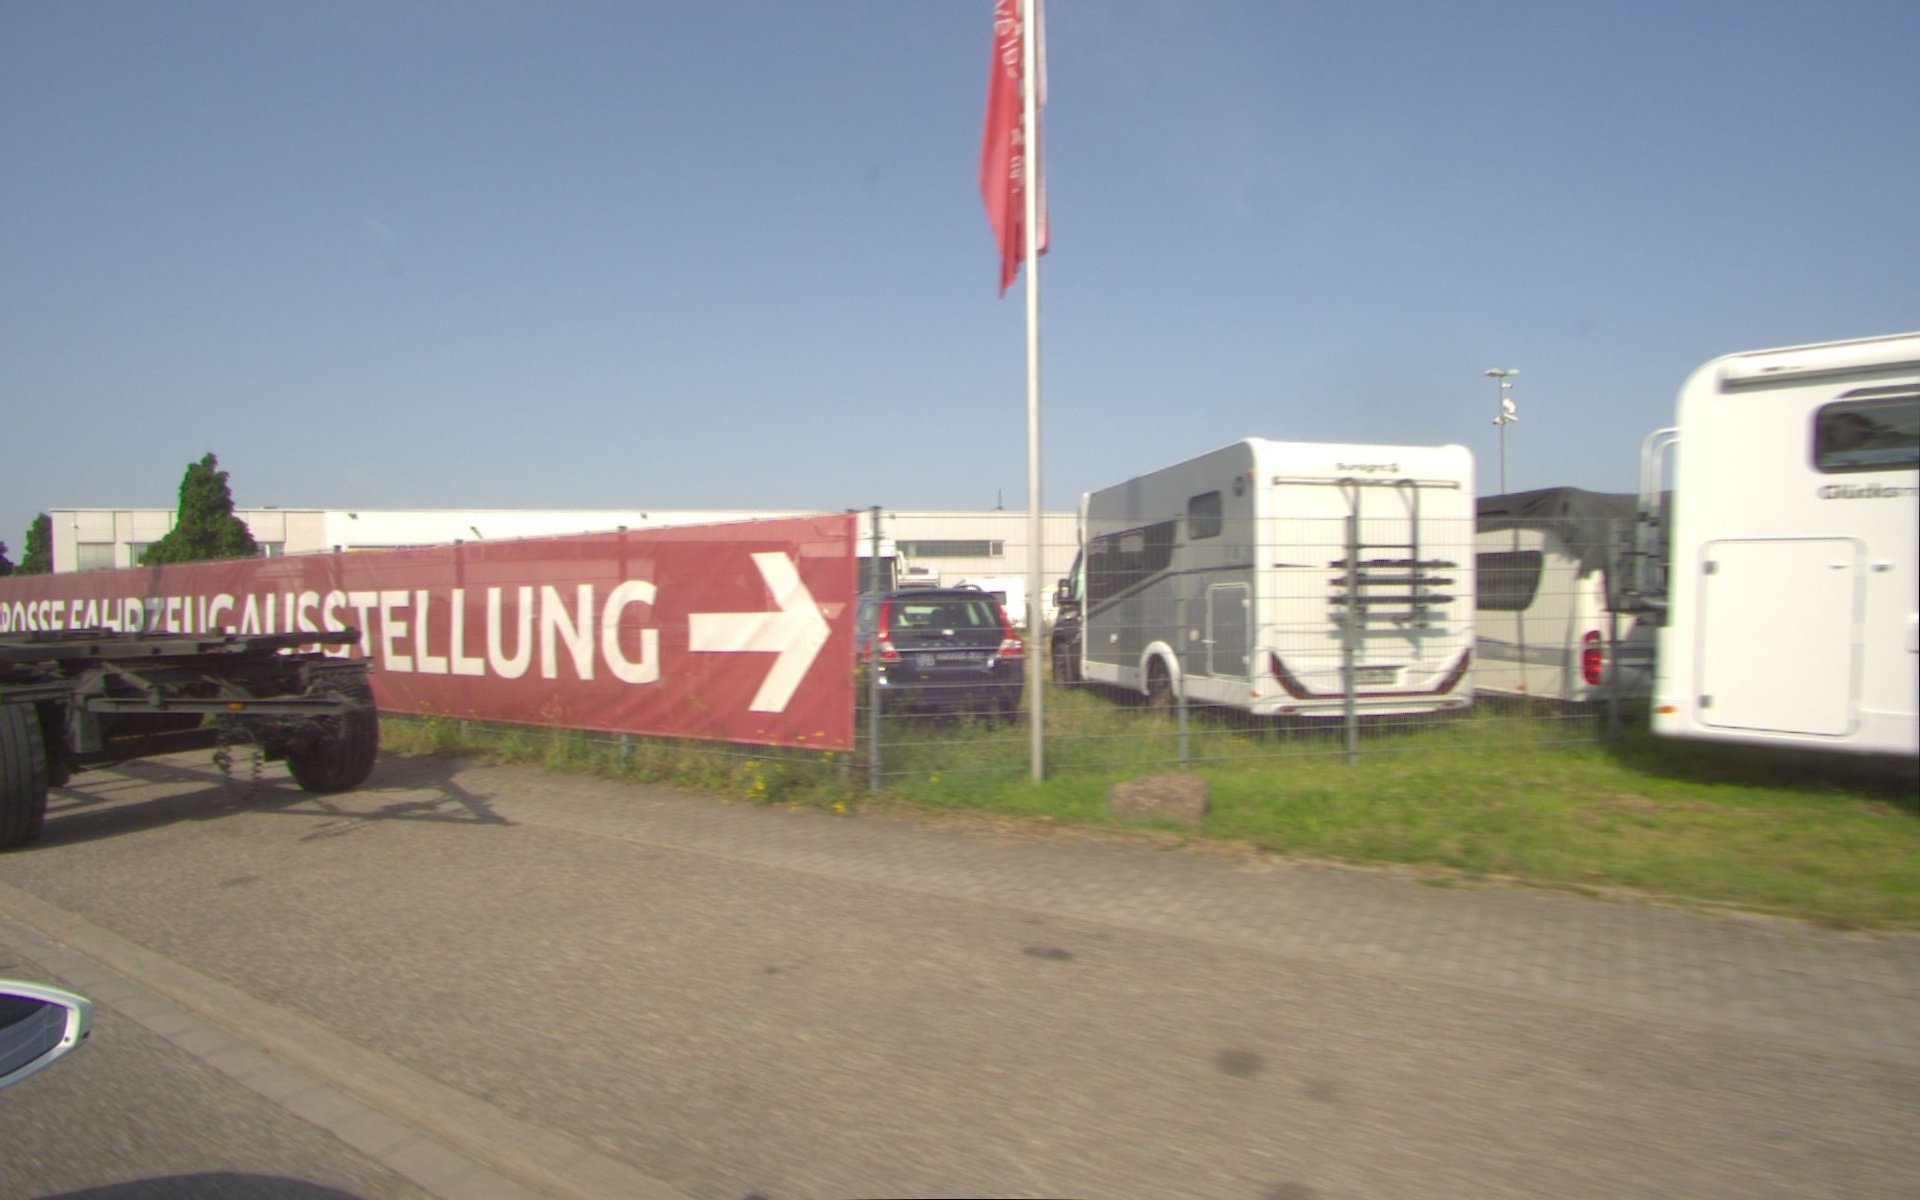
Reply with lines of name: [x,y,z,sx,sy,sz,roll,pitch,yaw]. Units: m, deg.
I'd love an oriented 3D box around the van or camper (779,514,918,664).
van or camper: [-3.041,-0.193,25.036,2.755,3.125,7.962,0,0,-12]

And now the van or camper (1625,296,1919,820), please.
van or camper: [7.734,-0.255,5.224,6.892,2.982,2.319,-1,0,42]

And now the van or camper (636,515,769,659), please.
van or camper: [-6.265,-0.259,25.304,2.620,3.125,6.790,0,0,-9]

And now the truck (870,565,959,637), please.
truck: [-1.941,0.087,38.828,2.412,2.503,7.996,0,-1,-10]

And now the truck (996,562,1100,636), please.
truck: [3.542,0.005,42.565,2.412,2.863,7.996,0,-1,-10]

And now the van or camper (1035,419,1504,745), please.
van or camper: [3.042,-0.131,12.085,2.445,2.788,6.618,0,0,-13]

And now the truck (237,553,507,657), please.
truck: [-23.724,0.208,40.933,9.144,4.025,2.455,0,0,-14]

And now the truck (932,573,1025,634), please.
truck: [0.616,0.174,42.062,2.412,2.295,7.996,0,-1,-10]

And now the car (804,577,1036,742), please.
car: [-0.235,0.572,11.190,2.130,1.496,4.000,-1,0,4]

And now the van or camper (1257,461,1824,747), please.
van or camper: [6.552,0.030,12.759,2.444,2.593,6.619,-3,0,-11]

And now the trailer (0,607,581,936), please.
trailer: [-7.157,0.857,8.234,9.323,1.407,2.615,-1,1,34]

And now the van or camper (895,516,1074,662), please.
van or camper: [0.301,-0.211,25.754,2.904,3.125,7.962,0,0,-12]
